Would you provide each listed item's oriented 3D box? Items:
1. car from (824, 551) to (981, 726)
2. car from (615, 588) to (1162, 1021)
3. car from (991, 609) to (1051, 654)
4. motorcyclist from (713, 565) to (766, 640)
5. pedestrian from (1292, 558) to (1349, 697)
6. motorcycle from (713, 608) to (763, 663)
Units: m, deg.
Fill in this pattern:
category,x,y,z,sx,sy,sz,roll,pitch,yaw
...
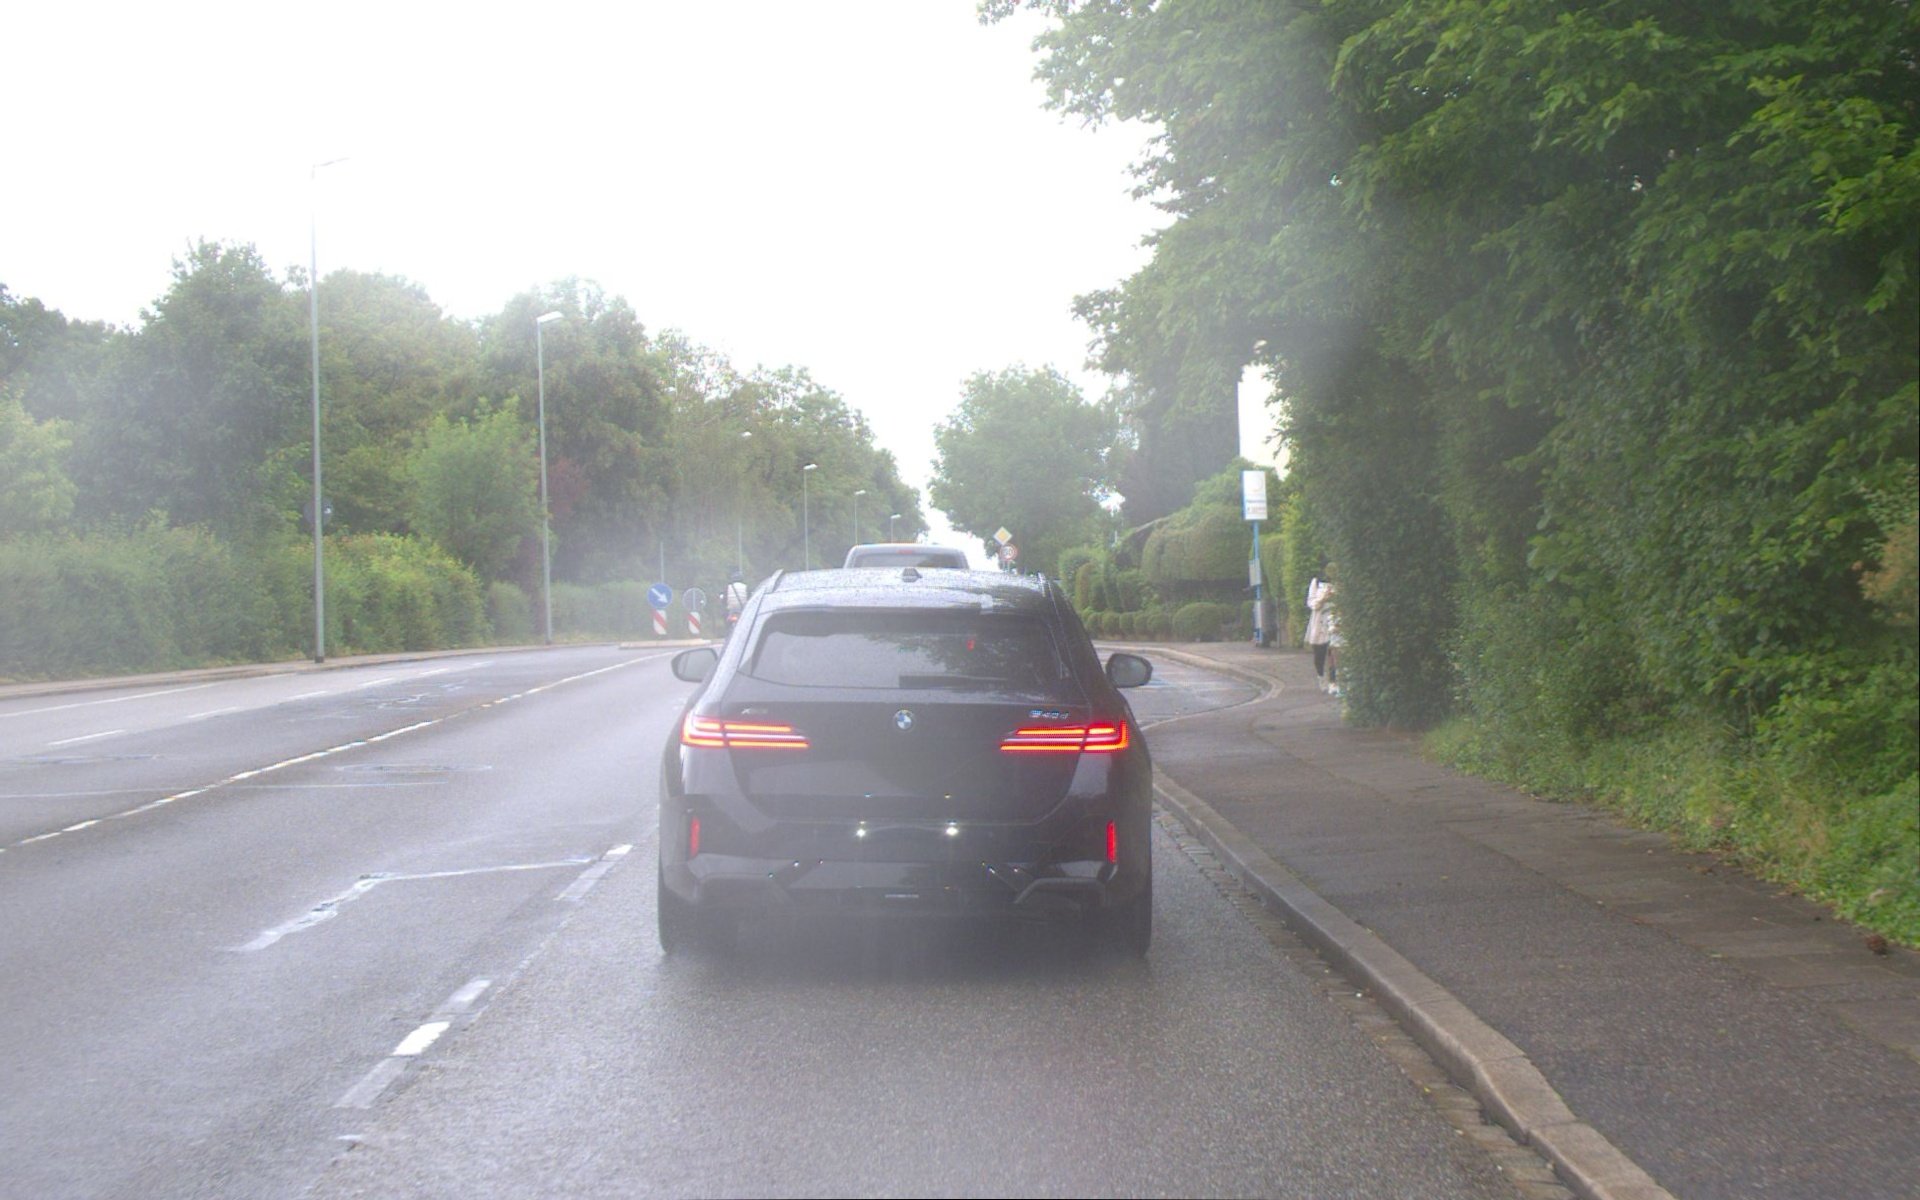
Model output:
category,x,y,z,sx,sy,sz,roll,pitch,yaw
car,-0.631,0.404,38.800,1.629,1.827,4.000,-2,0,-1
car,-0.235,0.726,14.113,1.897,1.484,4.000,1,0,1
car,2.077,1.057,116.343,1.935,1.437,4.407,-1,0,2
motorcyclist,-4.650,0.060,72.498,1.039,1.562,0.855,1,-1,-1
pedestrian,4.151,0.312,39.594,0.610,1.588,0.646,-1,0,8
motorcycle,-4.678,0.750,72.516,0.876,1.120,2.741,1,-1,-1
